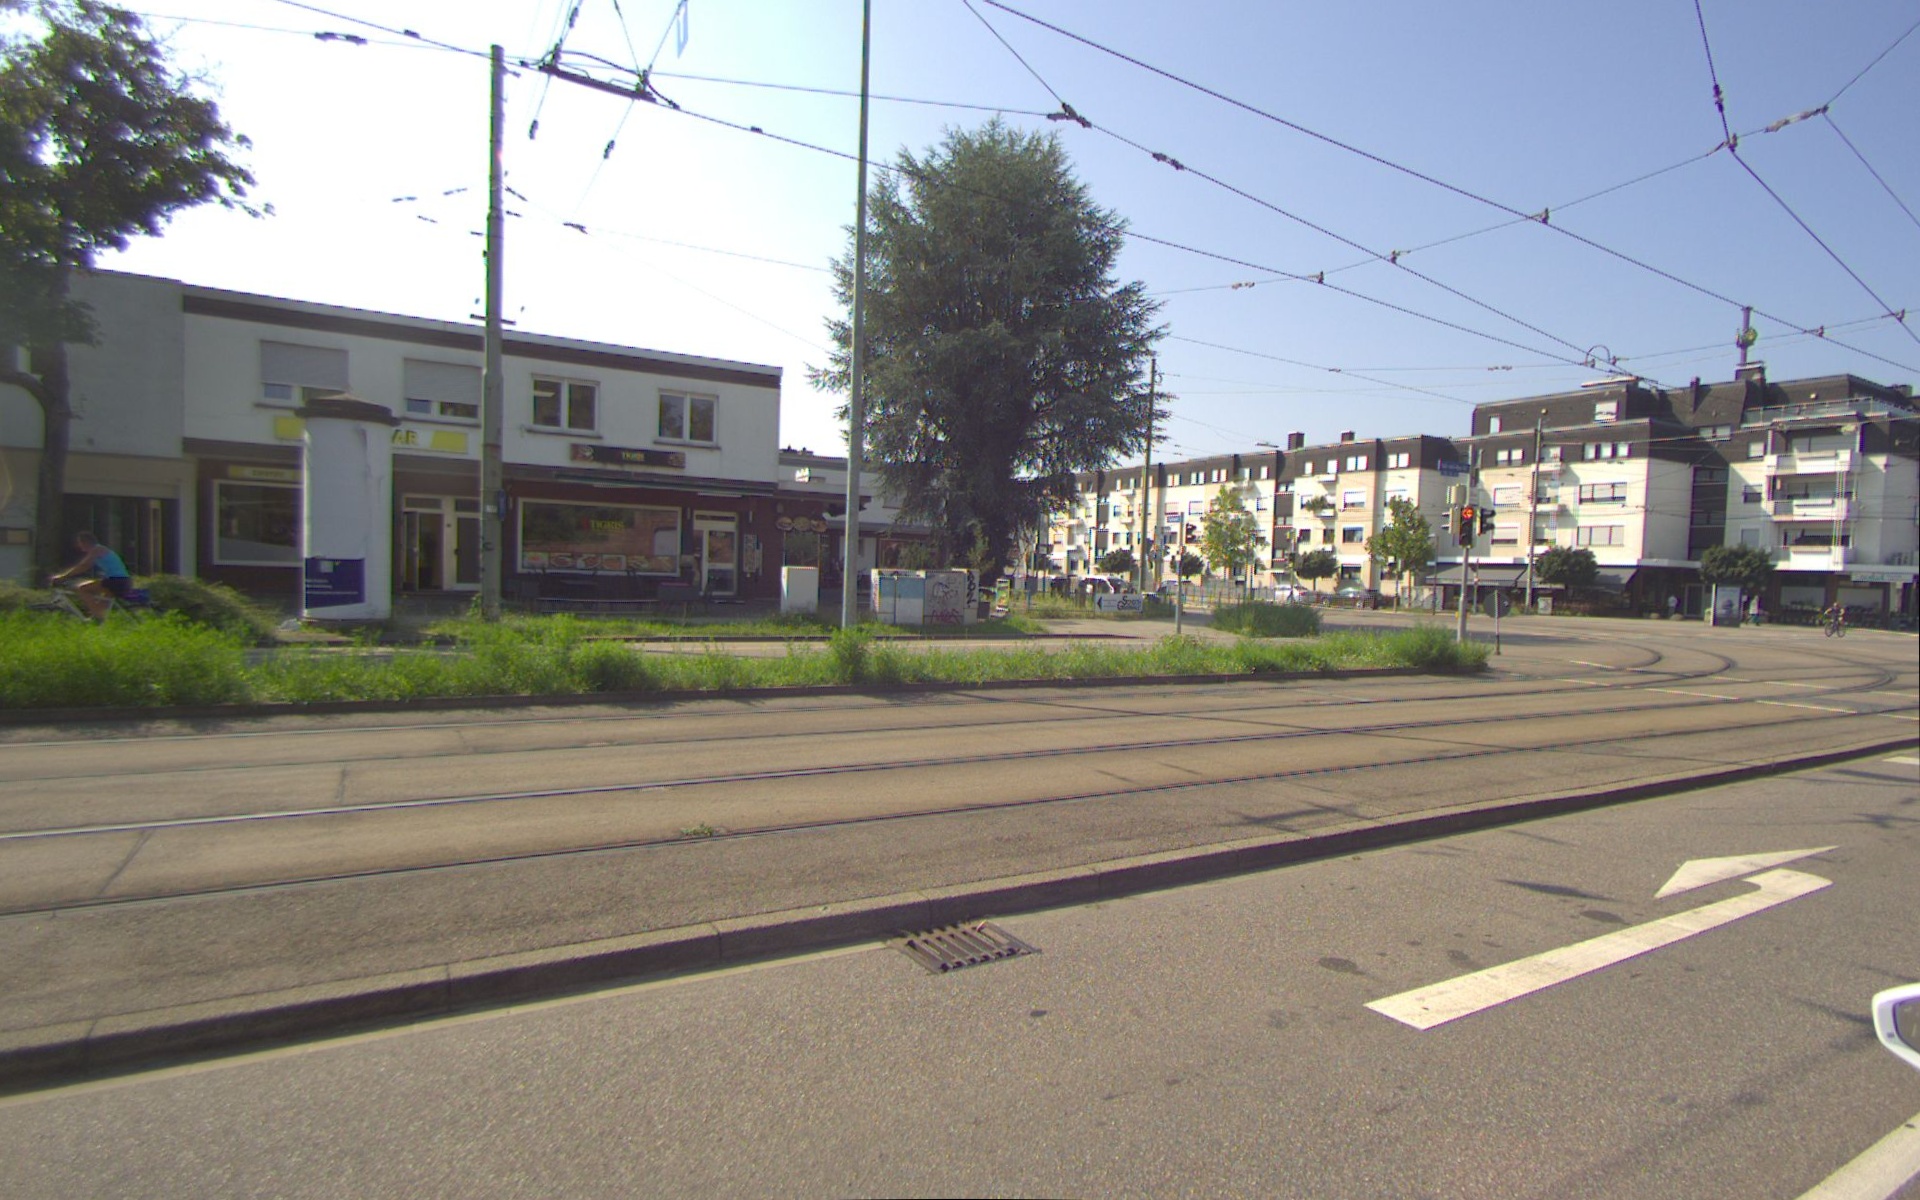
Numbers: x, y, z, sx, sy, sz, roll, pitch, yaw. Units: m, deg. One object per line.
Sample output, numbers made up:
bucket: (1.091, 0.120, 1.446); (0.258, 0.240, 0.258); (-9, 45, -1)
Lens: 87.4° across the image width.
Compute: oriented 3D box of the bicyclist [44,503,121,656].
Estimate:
bicyclist: (-12.420, -0.277, 14.240); (0.768, 2.092, 0.632); (1, 0, -40)

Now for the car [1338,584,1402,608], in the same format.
car: (30.779, -0.307, 75.500); (1.908, 1.527, 4.087); (1, 3, -31)

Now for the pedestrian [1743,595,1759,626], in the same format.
pedestrian: (45.935, 0.605, 58.322); (0.589, 1.768, 0.565); (2, 0, 26)

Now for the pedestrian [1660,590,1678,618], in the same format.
pedestrian: (45.263, 0.277, 64.089); (0.689, 1.764, 0.676); (1, 0, -29)

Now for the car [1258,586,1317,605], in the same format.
car: (24.306, -0.326, 74.710); (1.654, 1.317, 4.088); (1, 0, -31)

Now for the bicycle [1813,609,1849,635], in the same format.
bicycle: (41.041, 1.020, 47.311); (2.181, 1.195, 0.572); (1, 1, -29)

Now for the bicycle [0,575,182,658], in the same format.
bicycle: (-12.446, 0.228, 14.194); (2.248, 1.106, 0.708); (1, 0, -42)

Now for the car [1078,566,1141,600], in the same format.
car: (9.302, -1.100, 62.790); (1.801, 1.912, 3.996); (1, 3, -28)

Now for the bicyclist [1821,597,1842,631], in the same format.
bicyclist: (41.032, 0.662, 47.298); (0.484, 1.543, 0.565); (1, 0, -29)
